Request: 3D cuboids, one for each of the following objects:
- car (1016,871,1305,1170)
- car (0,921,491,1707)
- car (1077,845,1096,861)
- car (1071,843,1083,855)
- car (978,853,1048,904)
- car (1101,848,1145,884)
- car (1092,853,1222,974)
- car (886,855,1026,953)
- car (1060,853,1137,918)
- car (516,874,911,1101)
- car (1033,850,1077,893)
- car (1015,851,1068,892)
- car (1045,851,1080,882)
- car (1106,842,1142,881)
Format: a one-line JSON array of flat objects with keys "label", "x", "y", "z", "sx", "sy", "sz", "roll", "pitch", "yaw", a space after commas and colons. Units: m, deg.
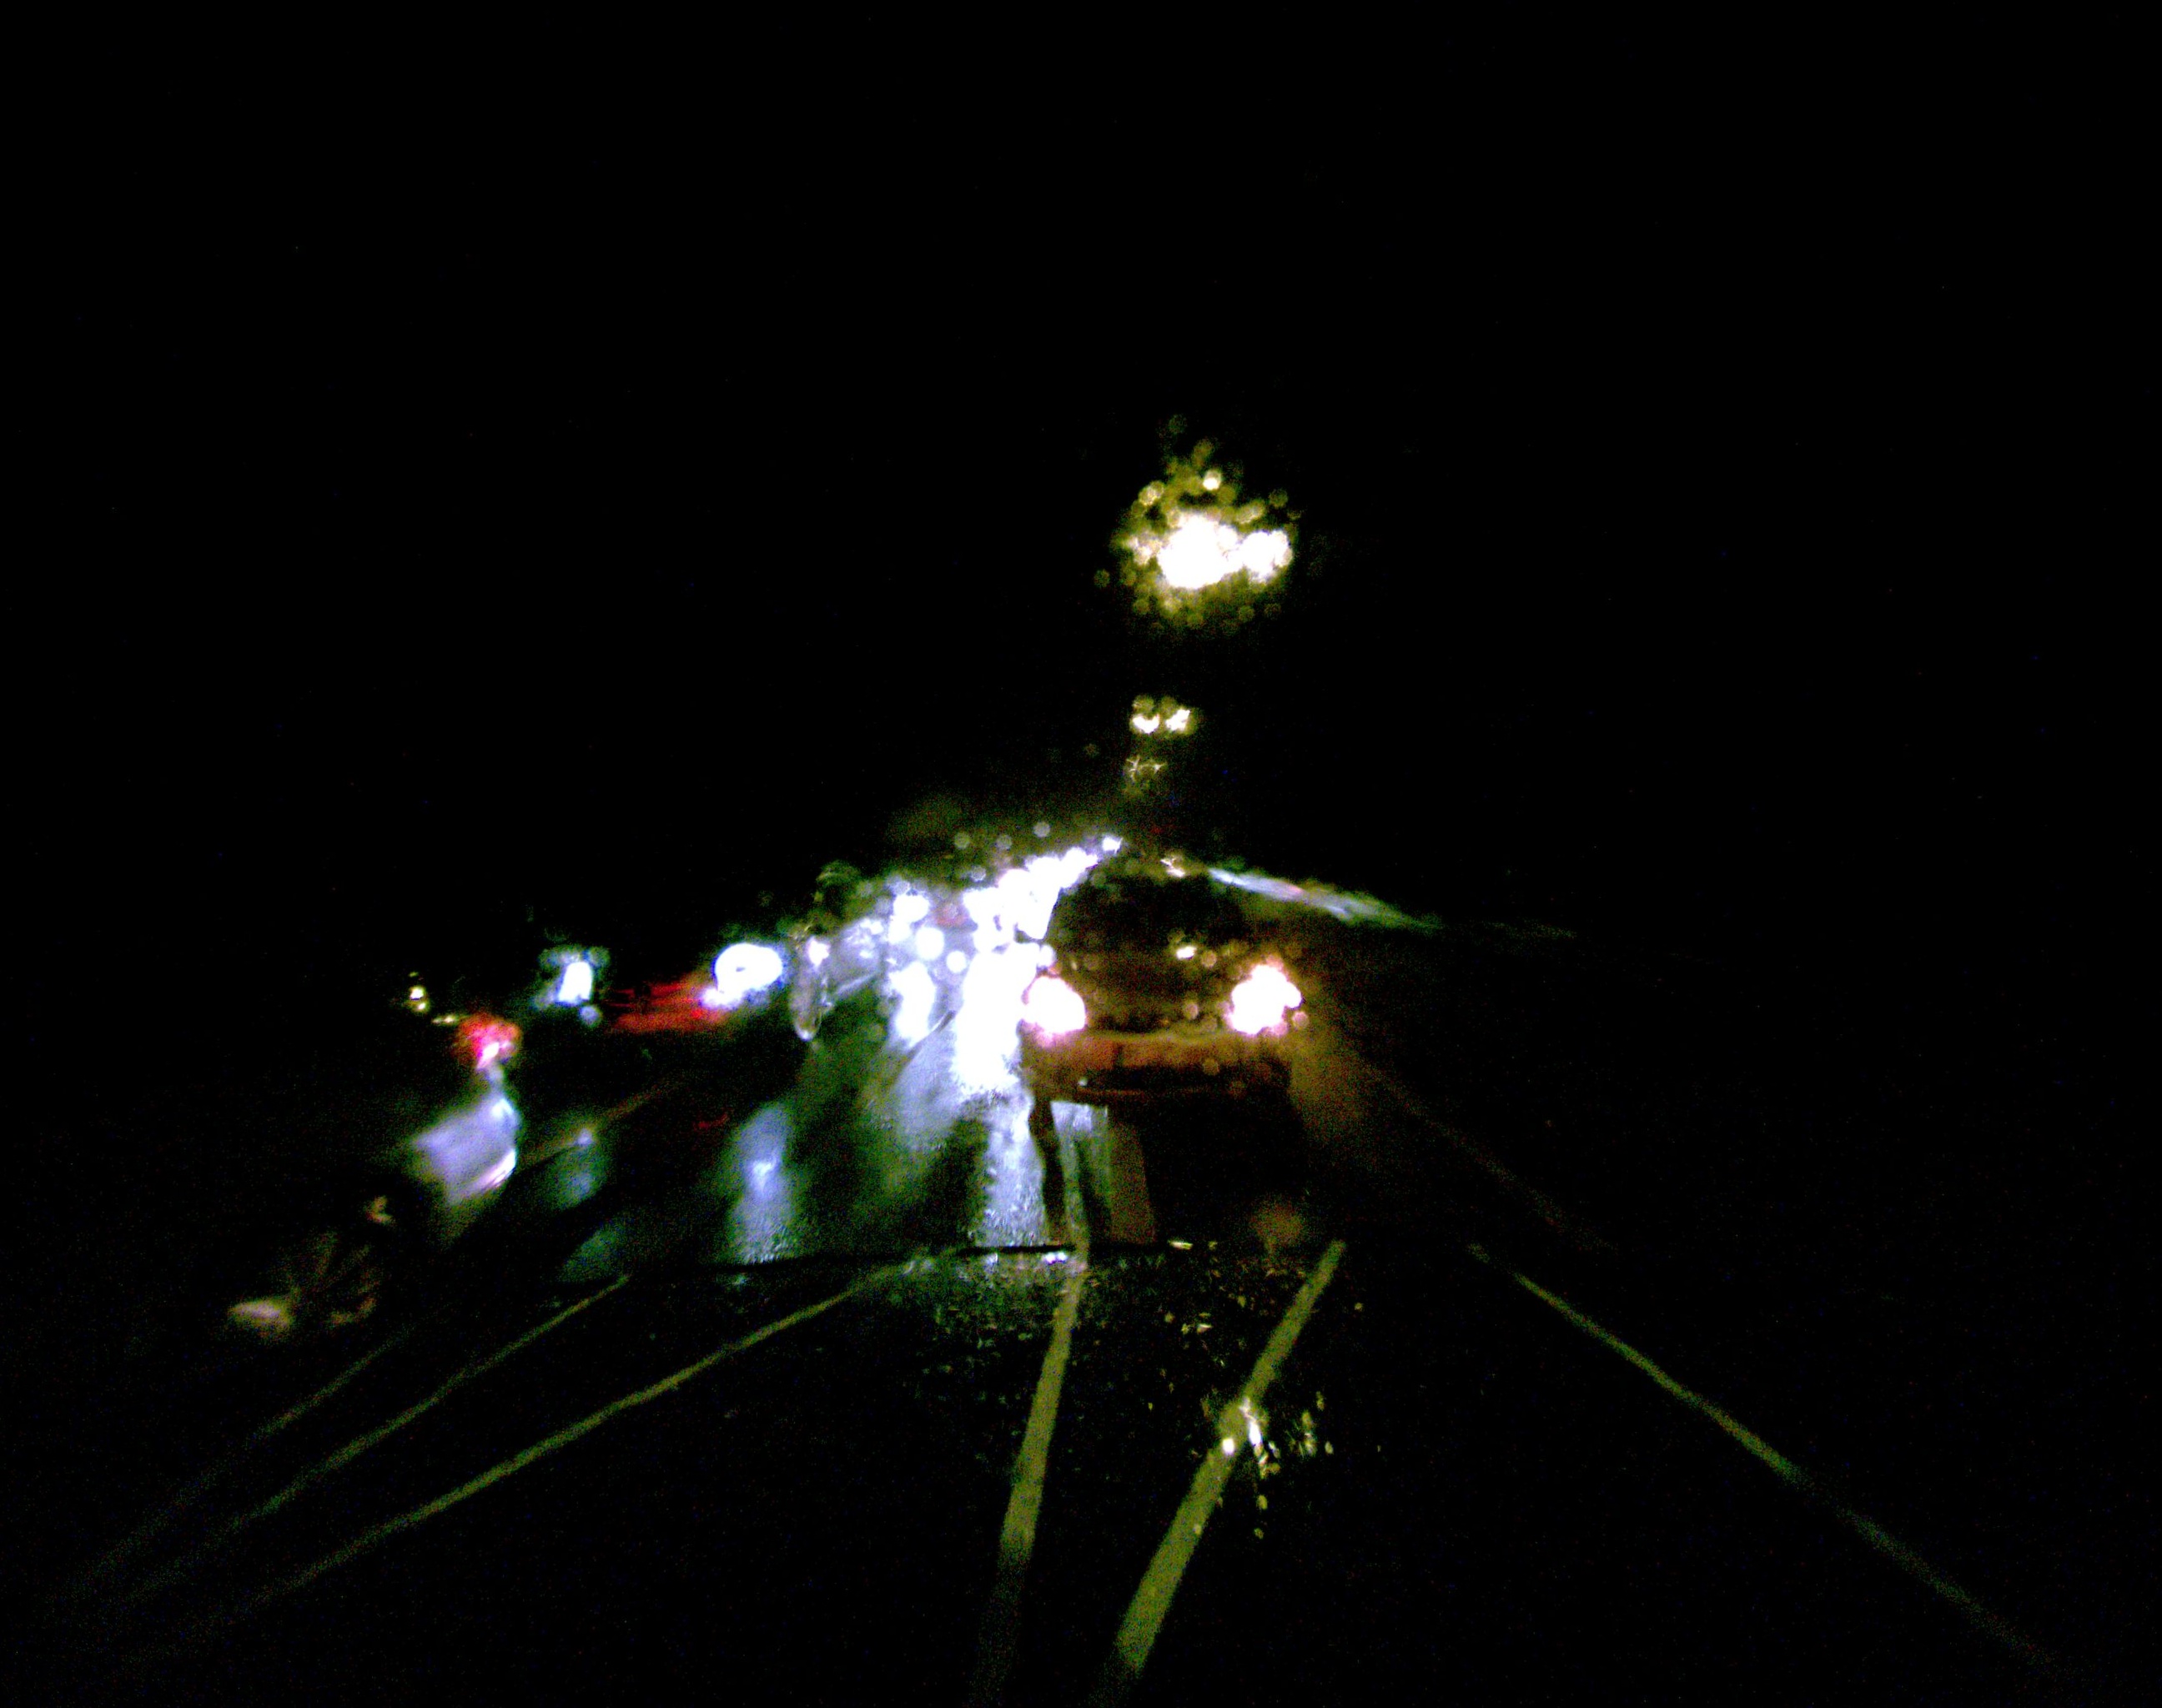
[{"label": "car", "x": 0.453, "y": 0.942, "z": 5.800, "sx": 1.497, "sy": 1.416, "sz": 3.389, "roll": -3, "pitch": 1, "yaw": 1}, {"label": "car", "x": -3.083, "y": 1.061, "z": 0.556, "sx": 1.711, "sy": 1.513, "sz": 4.414, "roll": -2, "pitch": 1, "yaw": 1}, {"label": "car", "x": 0.579, "y": -0.125, "z": 78.426, "sx": 1.869, "sy": 1.654, "sz": 4.000, "roll": -1, "pitch": 1, "yaw": 2}, {"label": "car", "x": -0.721, "y": -0.795, "z": 129.274, "sx": 1.998, "sy": 2.002, "sz": 3.999, "roll": -1, "pitch": 1, "yaw": 0}, {"label": "car", "x": -2.316, "y": 0.791, "z": 26.948, "sx": 1.998, "sy": 1.589, "sz": 4.391, "roll": -1, "pitch": 1, "yaw": 1}, {"label": "car", "x": 2.078, "y": 0.558, "z": 37.872, "sx": 1.998, "sy": 1.575, "sz": 4.000, "roll": -2, "pitch": 1, "yaw": 3}, {"label": "car", "x": 1.025, "y": 0.782, "z": 11.653, "sx": 1.606, "sy": 1.417, "sz": 3.389, "roll": -4, "pitch": 1, "yaw": 1}, {"label": "car", "x": -2.302, "y": 0.860, "z": 15.254, "sx": 1.998, "sy": 1.589, "sz": 4.391, "roll": -1, "pitch": 1, "yaw": 1}, {"label": "car", "x": 0.460, "y": 0.777, "z": 20.692, "sx": 1.838, "sy": 1.417, "sz": 3.698, "roll": -4, "pitch": 1, "yaw": 1}, {"label": "car", "x": -3.106, "y": 1.019, "z": 7.528, "sx": 1.743, "sy": 1.409, "sz": 4.139, "roll": -2, "pitch": 1, "yaw": 2}, {"label": "car", "x": -1.300, "y": 0.854, "z": 39.672, "sx": 1.998, "sy": 2.002, "sz": 3.999, "roll": -2, "pitch": 1, "yaw": 1}, {"label": "car", "x": -1.632, "y": 0.694, "z": 33.005, "sx": 1.998, "sy": 1.589, "sz": 4.391, "roll": -1, "pitch": 1, "yaw": 1}, {"label": "car", "x": -1.129, "y": 0.746, "z": 47.601, "sx": 1.998, "sy": 1.789, "sz": 4.000, "roll": -1, "pitch": 1, "yaw": 1}, {"label": "car", "x": 2.373, "y": 0.375, "z": 42.807, "sx": 1.801, "sy": 2.002, "sz": 3.999, "roll": -2, "pitch": 1, "yaw": 1}]
